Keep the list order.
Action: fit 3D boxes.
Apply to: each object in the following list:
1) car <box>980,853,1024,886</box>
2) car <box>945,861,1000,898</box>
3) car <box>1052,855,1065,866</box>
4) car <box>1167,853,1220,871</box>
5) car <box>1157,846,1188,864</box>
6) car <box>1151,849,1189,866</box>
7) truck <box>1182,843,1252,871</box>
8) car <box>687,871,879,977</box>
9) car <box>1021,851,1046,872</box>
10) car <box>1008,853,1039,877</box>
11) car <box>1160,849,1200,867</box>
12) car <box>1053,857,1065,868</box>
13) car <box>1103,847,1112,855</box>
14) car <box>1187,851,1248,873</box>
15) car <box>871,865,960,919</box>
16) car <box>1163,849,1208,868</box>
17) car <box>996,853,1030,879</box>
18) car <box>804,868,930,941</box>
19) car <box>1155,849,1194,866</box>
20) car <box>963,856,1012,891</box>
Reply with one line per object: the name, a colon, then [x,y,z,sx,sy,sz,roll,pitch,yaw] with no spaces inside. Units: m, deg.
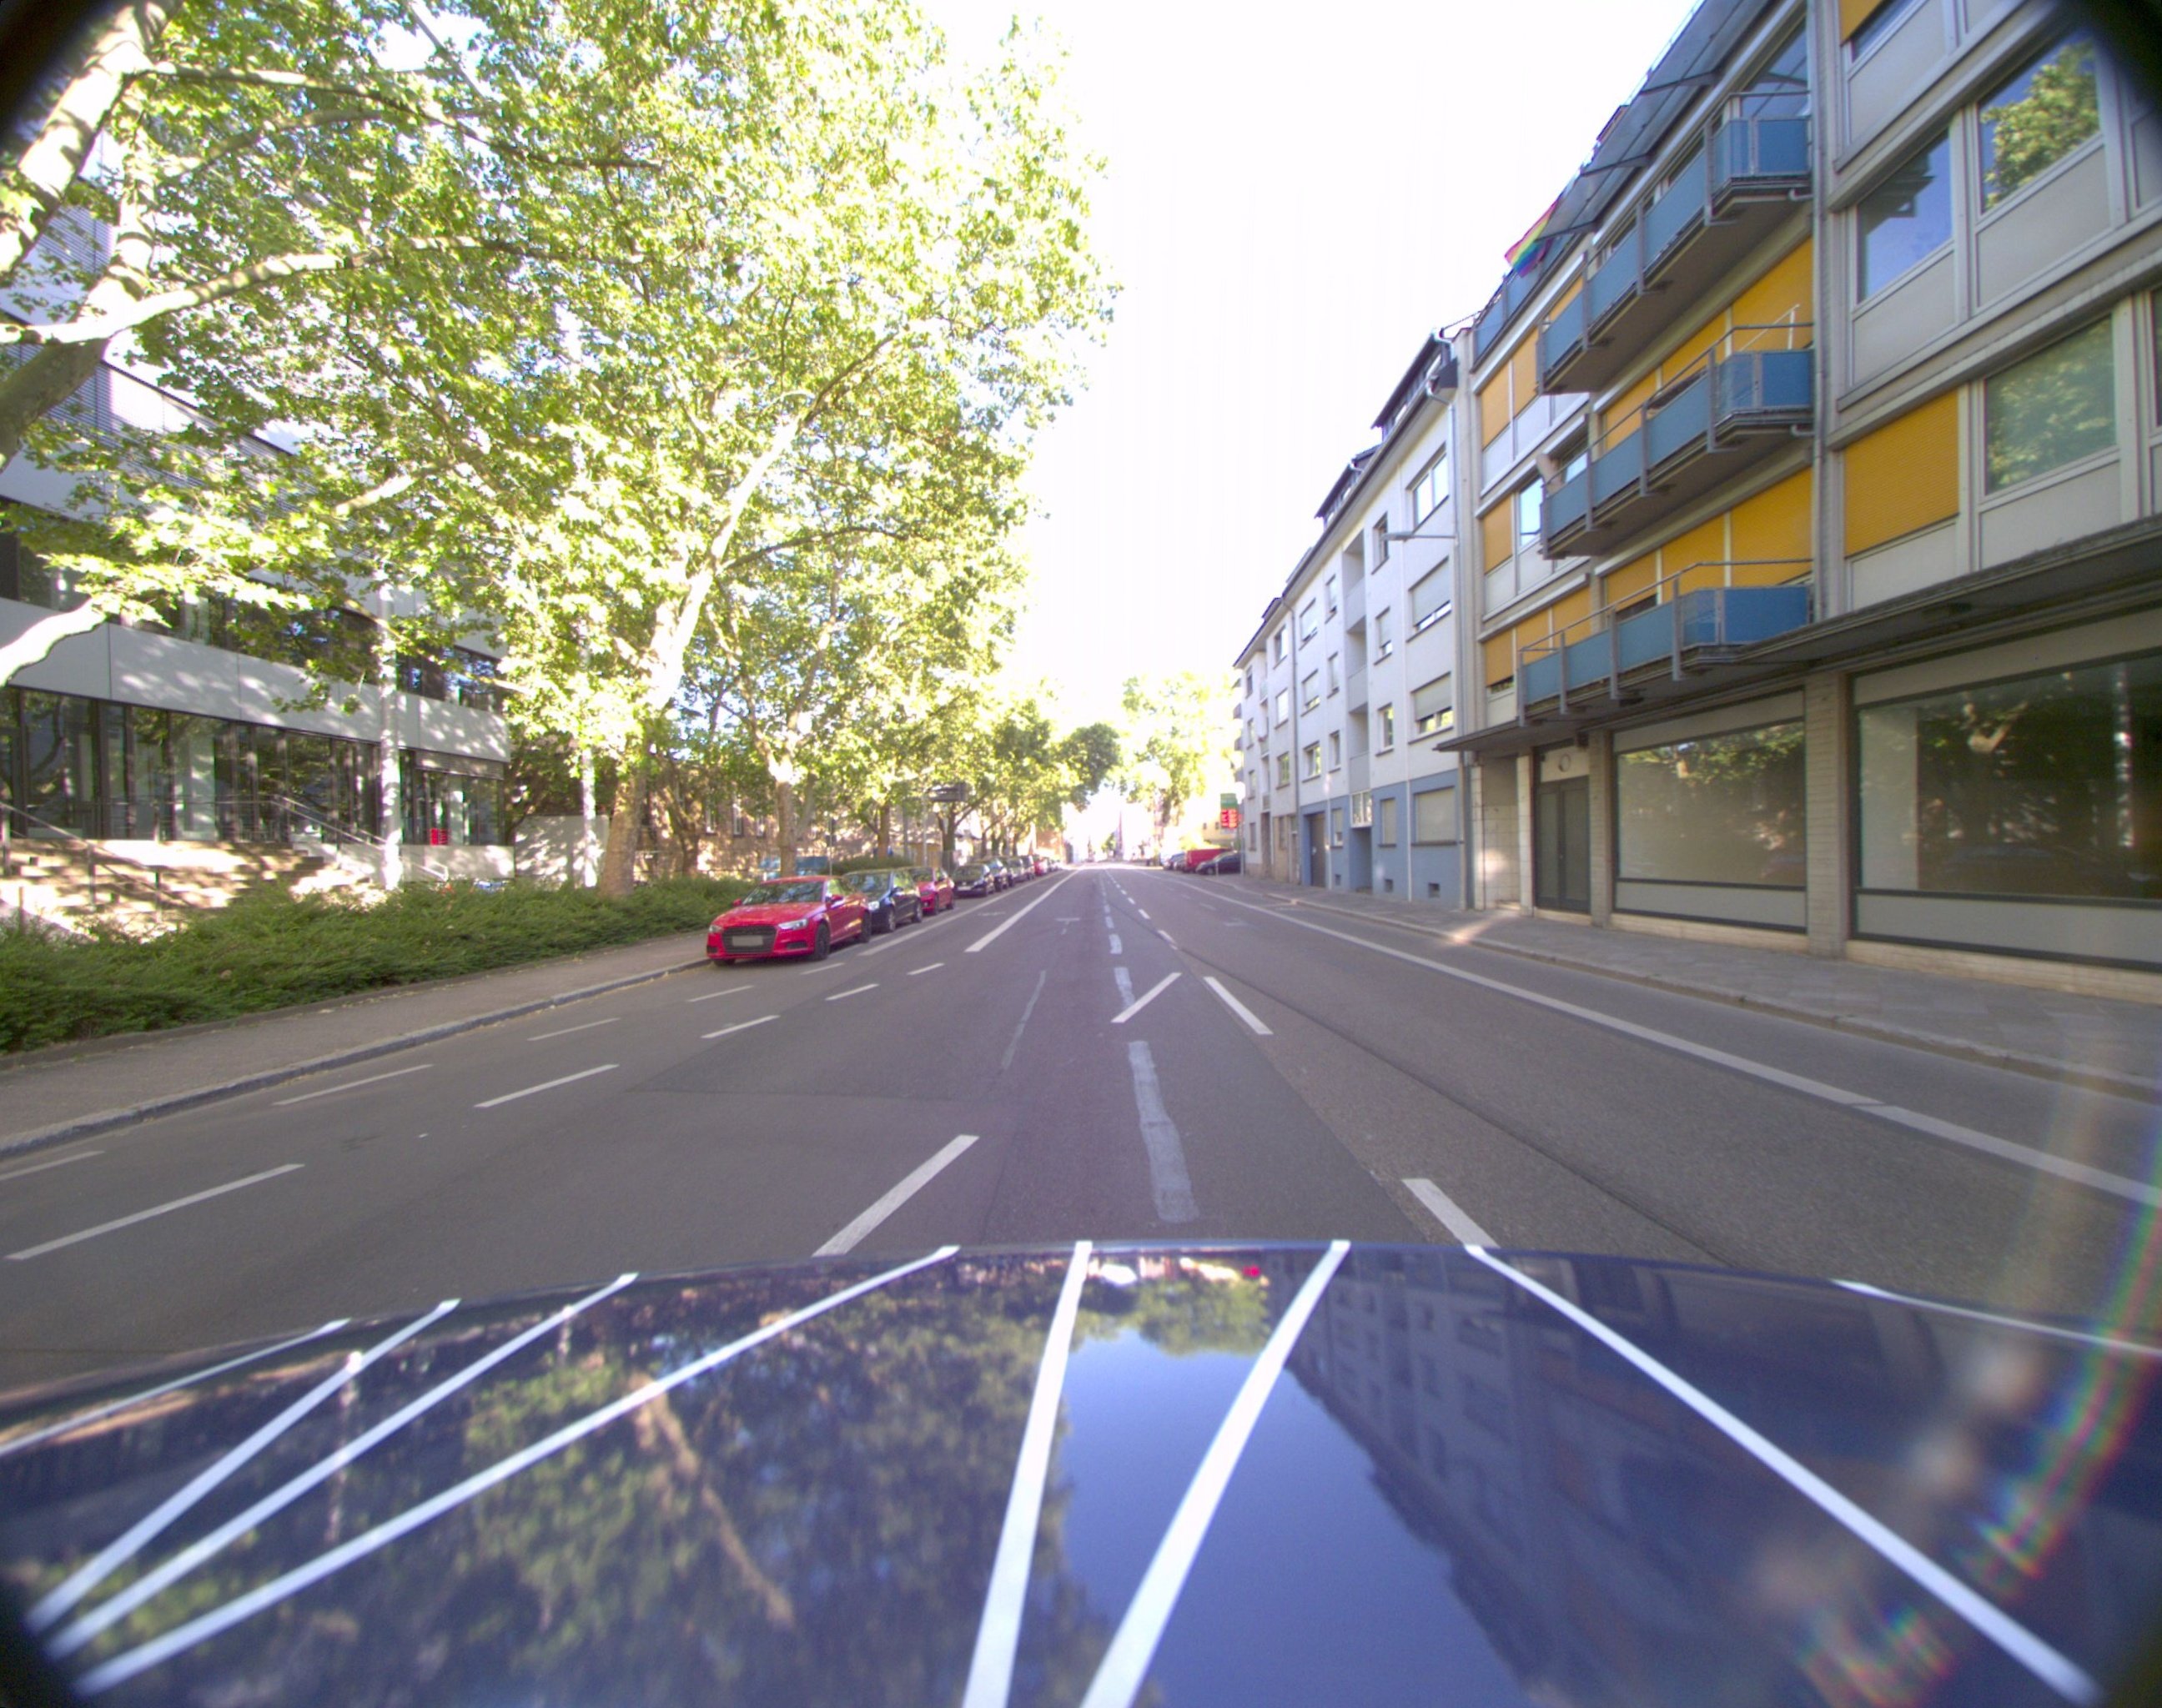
car: [-4.549,0.873,44.192,1.998,1.715,4.262,-2,1,1]
car: [-4.680,1.086,33.262,1.745,1.430,4.000,-1,0,1]
car: [-3.048,0.829,102.784,1.707,1.459,3.809,-1,0,0]
car: [9.294,0.658,62.812,4.033,1.265,1.906,-2,1,-1]
car: [10.226,0.116,85.248,3.267,1.927,1.693,-2,1,2]
car: [9.482,0.382,80.859,3.728,1.579,1.743,-2,1,-5]
truck: [10.723,0.244,60.095,5.088,2.009,2.000,-2,1,0]
car: [-5.106,1.118,13.702,1.775,1.416,4.173,-3,0,0]
car: [-4.111,0.621,66.179,1.876,1.685,4.166,-1,0,1]
car: [-4.173,0.756,55.509,1.831,1.608,4.177,-1,0,1]
car: [9.876,0.389,75.909,3.658,1.578,1.659,-2,1,-5]
car: [-2.632,1.036,92.469,1.300,1.220,3.241,-1,0,0]
car: [6.760,-0.781,193.461,1.998,2.002,3.999,-2,1,1]
car: [9.805,0.550,54.825,3.997,1.385,1.781,-2,1,-1]
car: [-5.036,1.107,23.632,1.790,1.429,4.000,-1,0,1]
car: [10.078,0.403,73.362,3.998,1.618,1.702,-2,1,-5]
car: [-4.444,0.744,50.453,1.798,1.608,4.075,-1,0,1]
car: [-5.060,1.139,18.565,1.813,1.449,4.000,-1,0,2]
car: [9.611,0.385,78.568,3.703,1.573,1.718,-2,1,-5]
car: [-4.626,0.925,38.208,1.848,1.572,4.232,-2,0,1]
